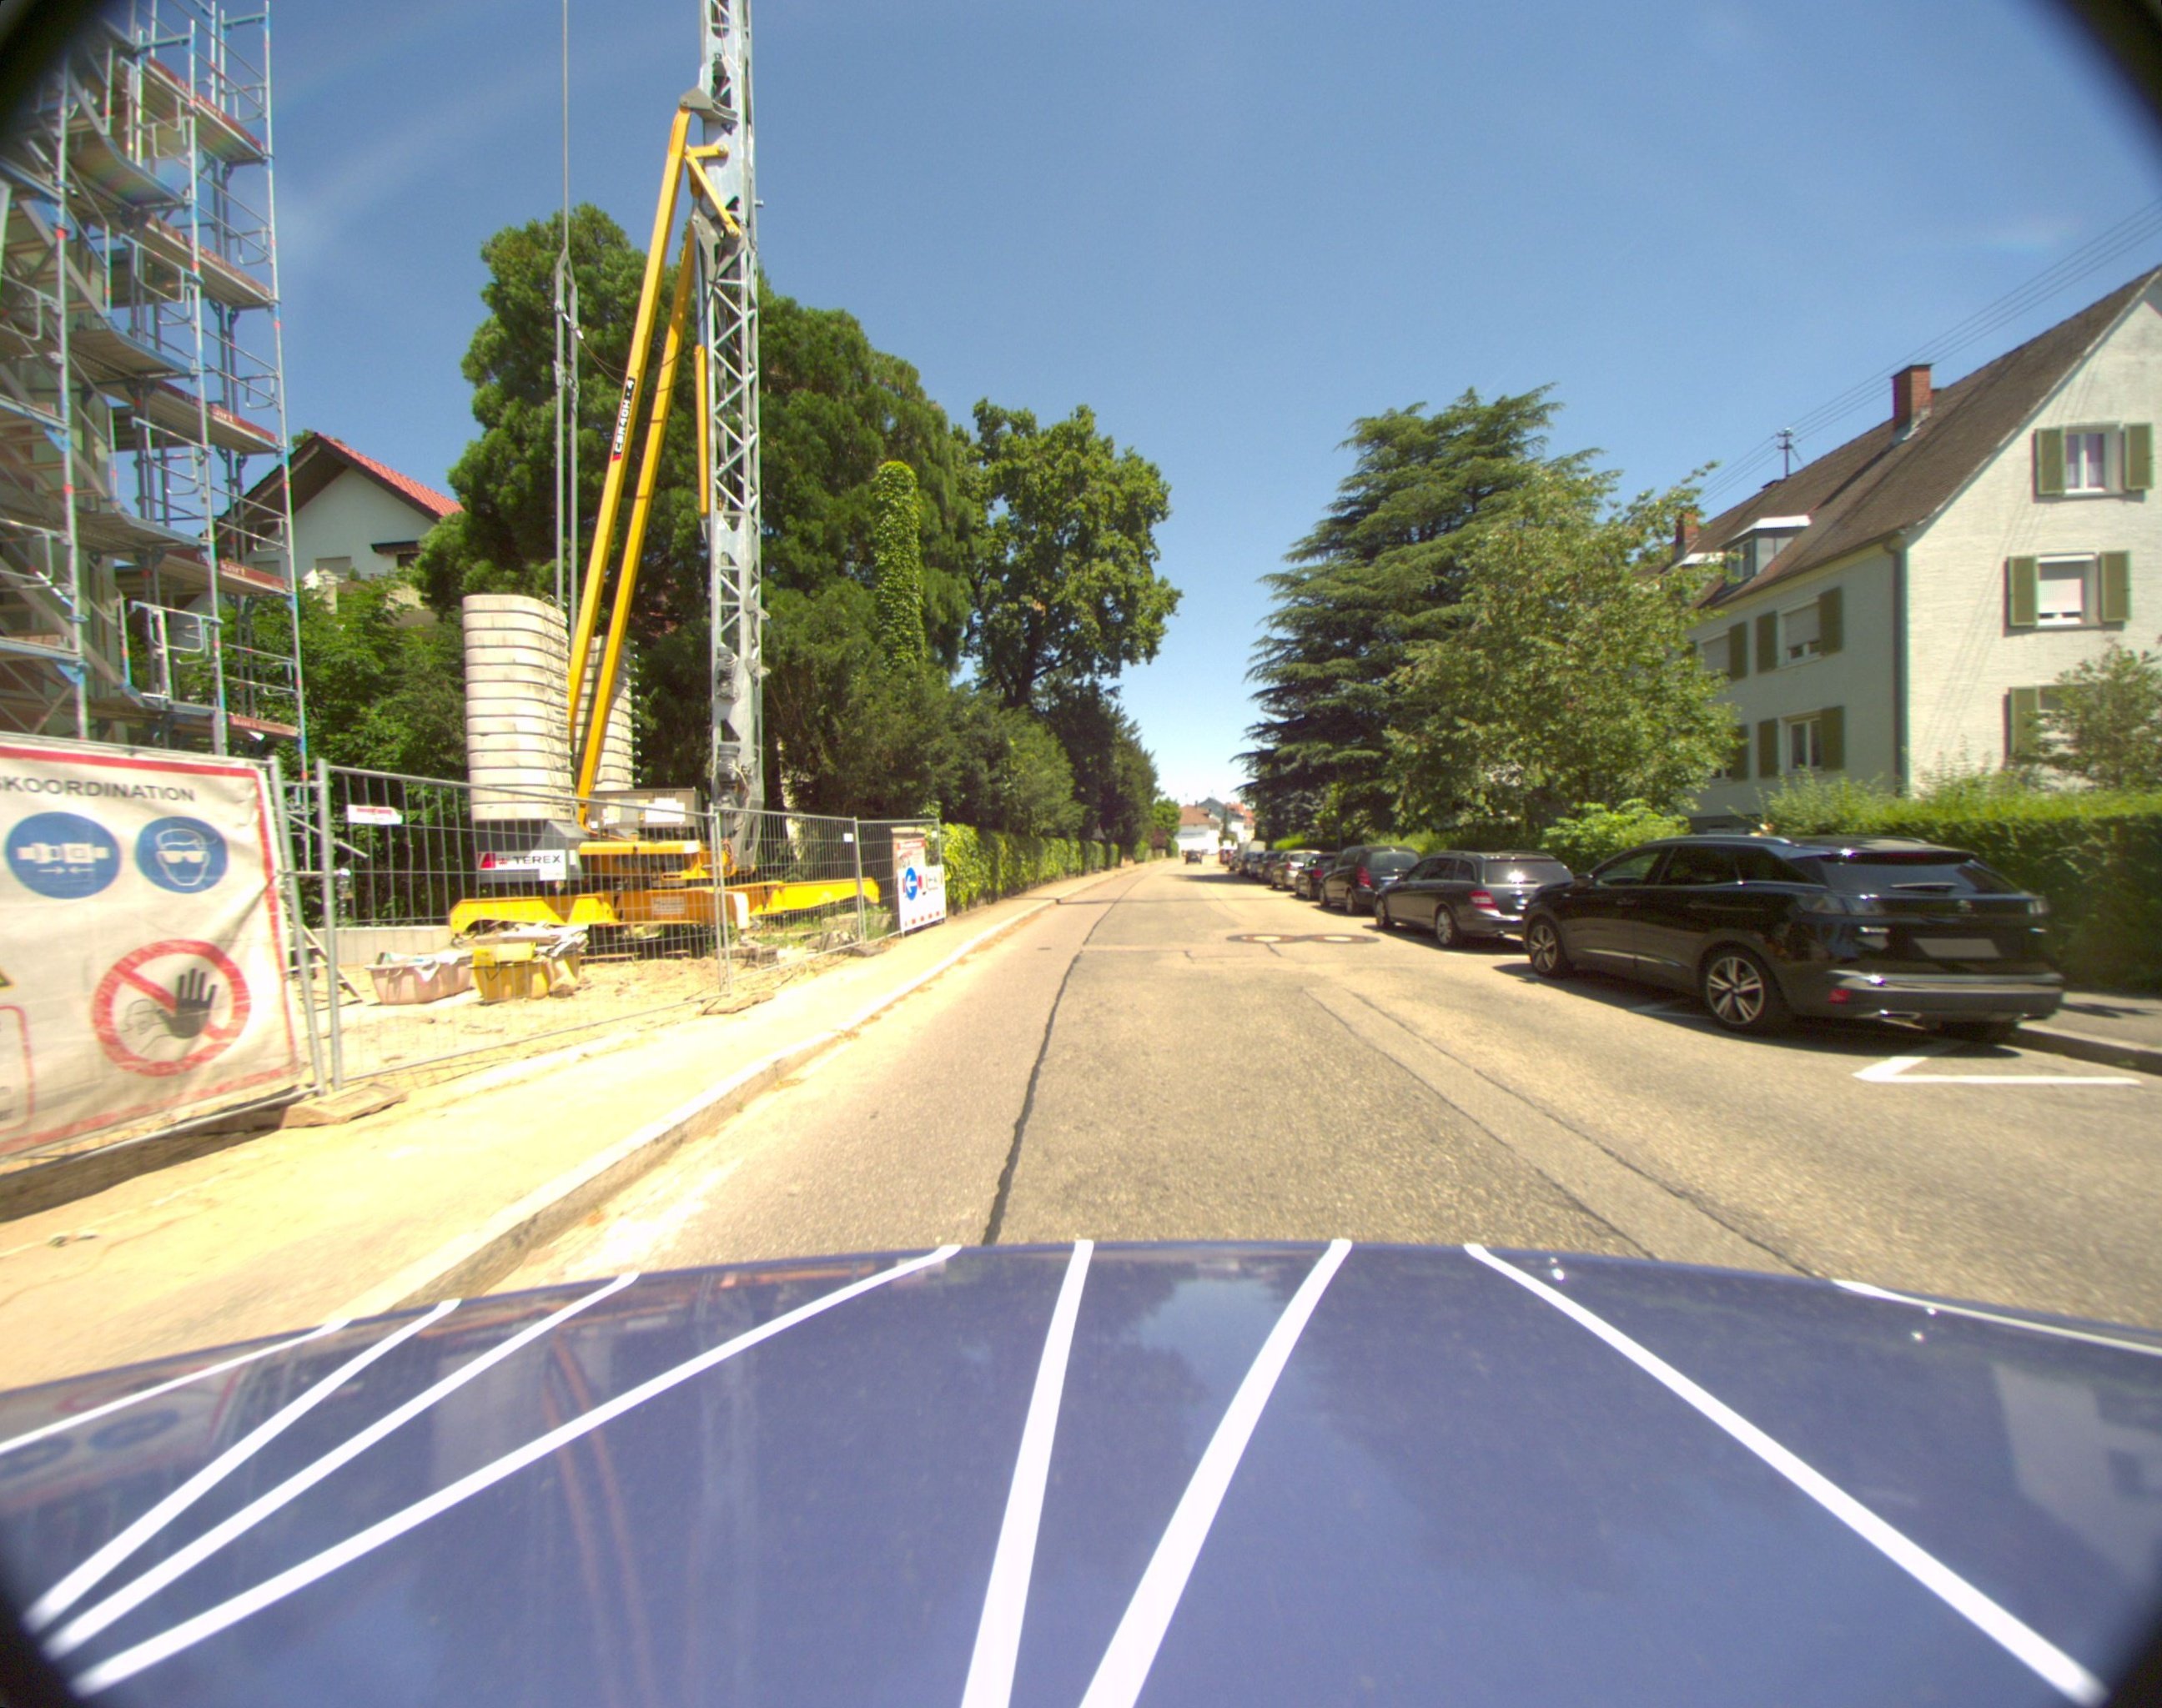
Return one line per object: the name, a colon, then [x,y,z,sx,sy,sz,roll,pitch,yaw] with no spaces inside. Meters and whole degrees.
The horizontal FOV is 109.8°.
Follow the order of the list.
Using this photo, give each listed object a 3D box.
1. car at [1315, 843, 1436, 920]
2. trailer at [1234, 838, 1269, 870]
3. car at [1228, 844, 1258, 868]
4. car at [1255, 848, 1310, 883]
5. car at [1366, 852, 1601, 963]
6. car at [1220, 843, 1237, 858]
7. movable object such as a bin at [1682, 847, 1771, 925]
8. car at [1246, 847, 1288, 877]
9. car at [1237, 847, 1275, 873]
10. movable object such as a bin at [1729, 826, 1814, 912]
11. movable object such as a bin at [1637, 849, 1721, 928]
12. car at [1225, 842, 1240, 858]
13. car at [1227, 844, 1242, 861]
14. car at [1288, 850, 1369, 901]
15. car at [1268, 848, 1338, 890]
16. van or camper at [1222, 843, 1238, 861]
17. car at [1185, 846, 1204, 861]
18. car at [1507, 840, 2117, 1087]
car: [6.856,0.561,18.107,1.684,1.630,3.791,0,1,5]
trailer: [11.245,-0.030,50.310,1.817,2.021,4.002,1,1,7]
car: [11.602,0.093,54.599,1.772,1.610,4.551,1,1,8]
car: [8.758,0.445,33.352,1.800,1.434,4.274,0,1,8]
car: [6.272,0.715,12.483,1.685,1.467,4.330,0,1,2]
car: [17.162,-0.433,88.436,1.892,1.749,3.615,1,1,10]
movable object such as a bin: [11.328,0.540,13.370,0.755,1.324,0.963,-1,1,3]
car: [9.661,0.379,39.683,1.800,1.434,3.898,0,1,8]
car: [10.191,0.304,44.568,1.800,1.434,4.479,0,1,8]
movable object such as a bin: [12.073,0.251,13.316,0.658,1.444,0.918,-1,1,3]
movable object such as a bin: [10.519,0.584,13.397,0.755,1.324,0.963,-1,1,3]
car: [20.202,-0.582,101.670,1.892,2.103,4.002,1,1,10]
car: [14.859,-0.157,73.586,1.307,1.568,2.322,0,1,10]
car: [7.433,0.594,23.124,1.684,1.393,3.792,0,1,8]
car: [8.091,0.511,28.057,1.800,1.434,3.786,0,1,5]
van or camper: [15.426,-0.215,78.769,1.582,1.760,3.891,0,1,10]
car: [12.420,-0.118,83.127,1.903,1.565,4.143,-1,1,7]
car: [6.015,0.696,7.174,1.685,1.627,4.330,0,1,2]
